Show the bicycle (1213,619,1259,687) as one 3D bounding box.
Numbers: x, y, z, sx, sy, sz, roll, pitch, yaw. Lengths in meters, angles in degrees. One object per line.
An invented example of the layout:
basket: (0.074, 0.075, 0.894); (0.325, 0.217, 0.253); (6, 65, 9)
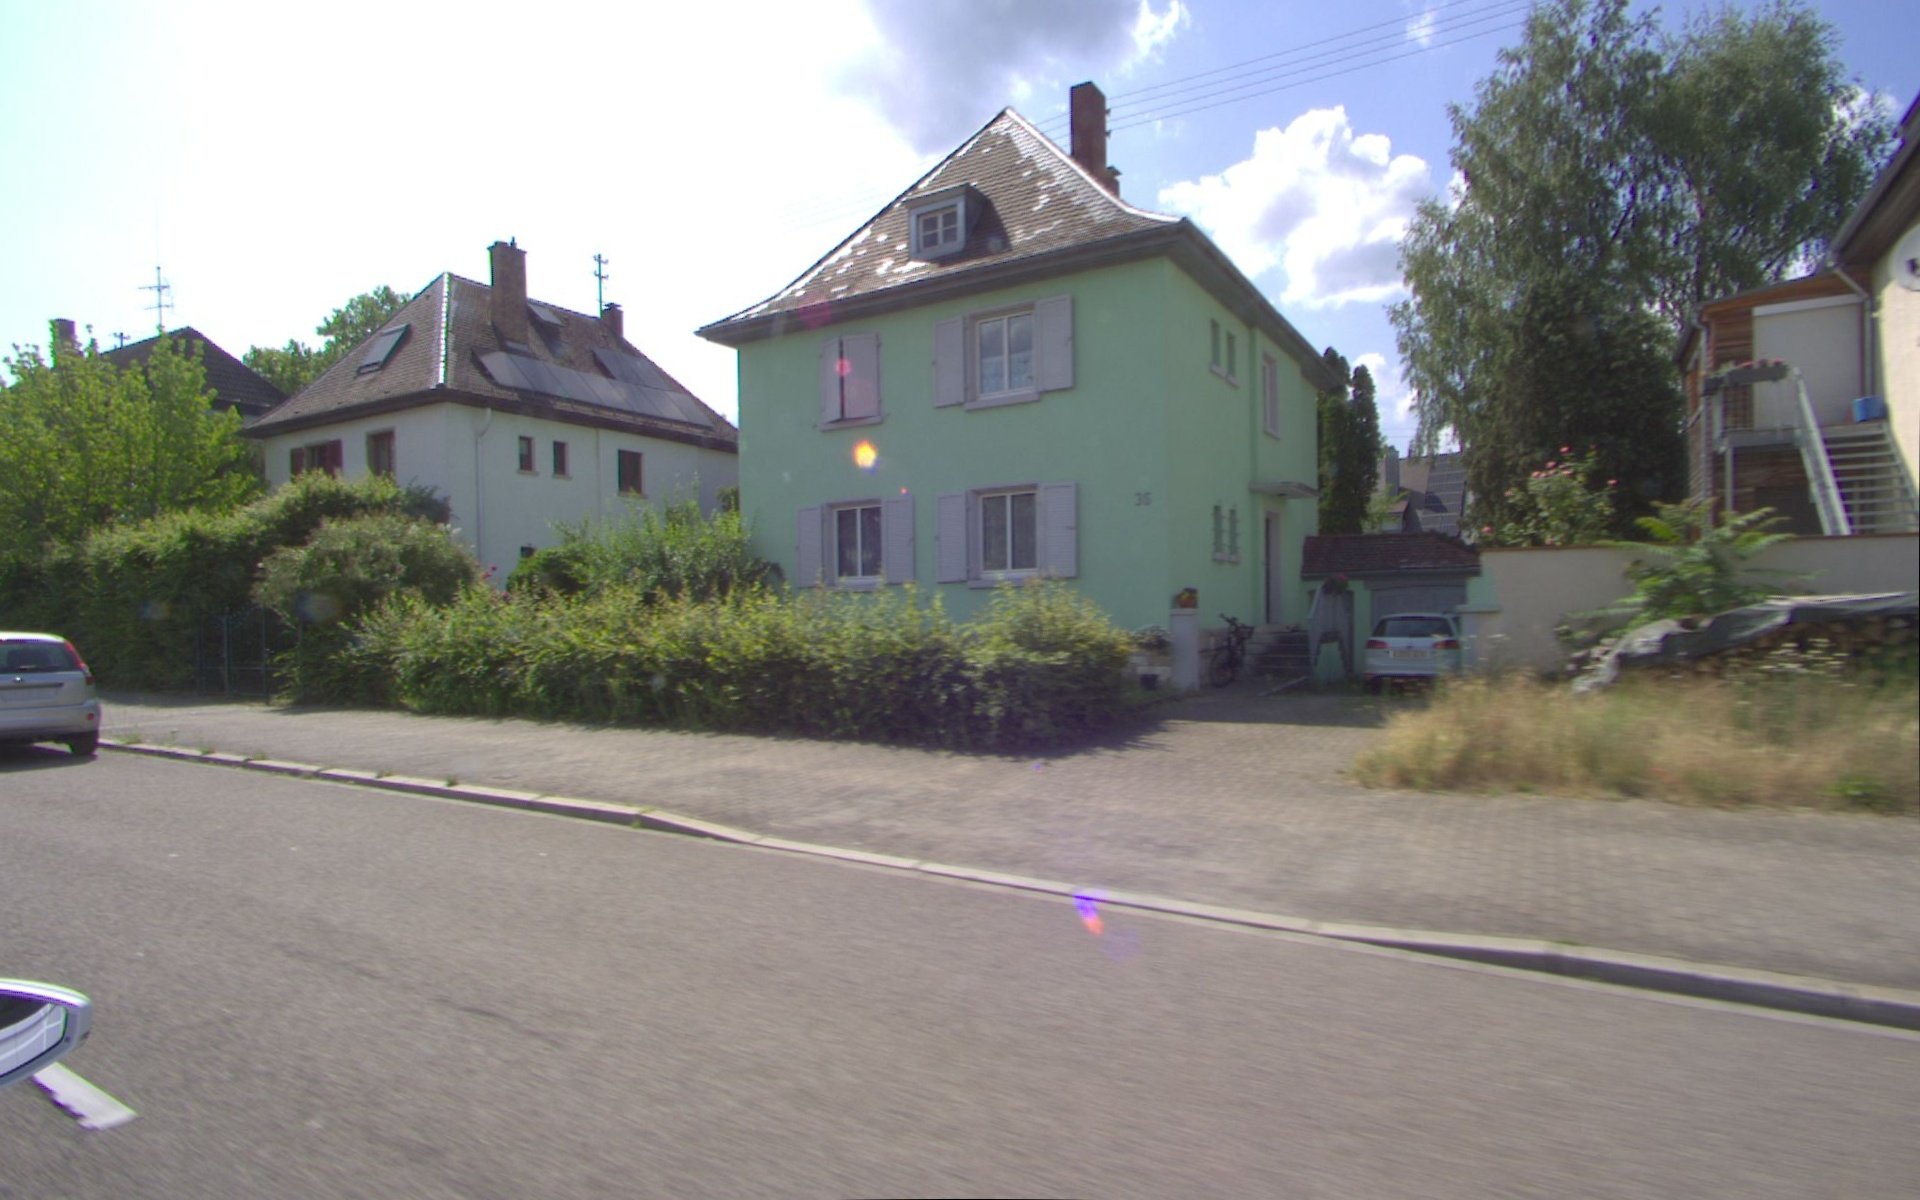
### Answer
bicycle: (4.659, 0.863, 16.875); (0.412, 1.071, 1.596); (0, 0, 28)

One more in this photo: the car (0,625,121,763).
car: (-12.087, 1.084, 12.212); (4.037, 1.508, 1.734); (-2, -2, 33)

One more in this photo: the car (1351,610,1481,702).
car: (8.313, 0.979, 18.071); (1.713, 1.466, 3.982); (-1, -2, 31)
